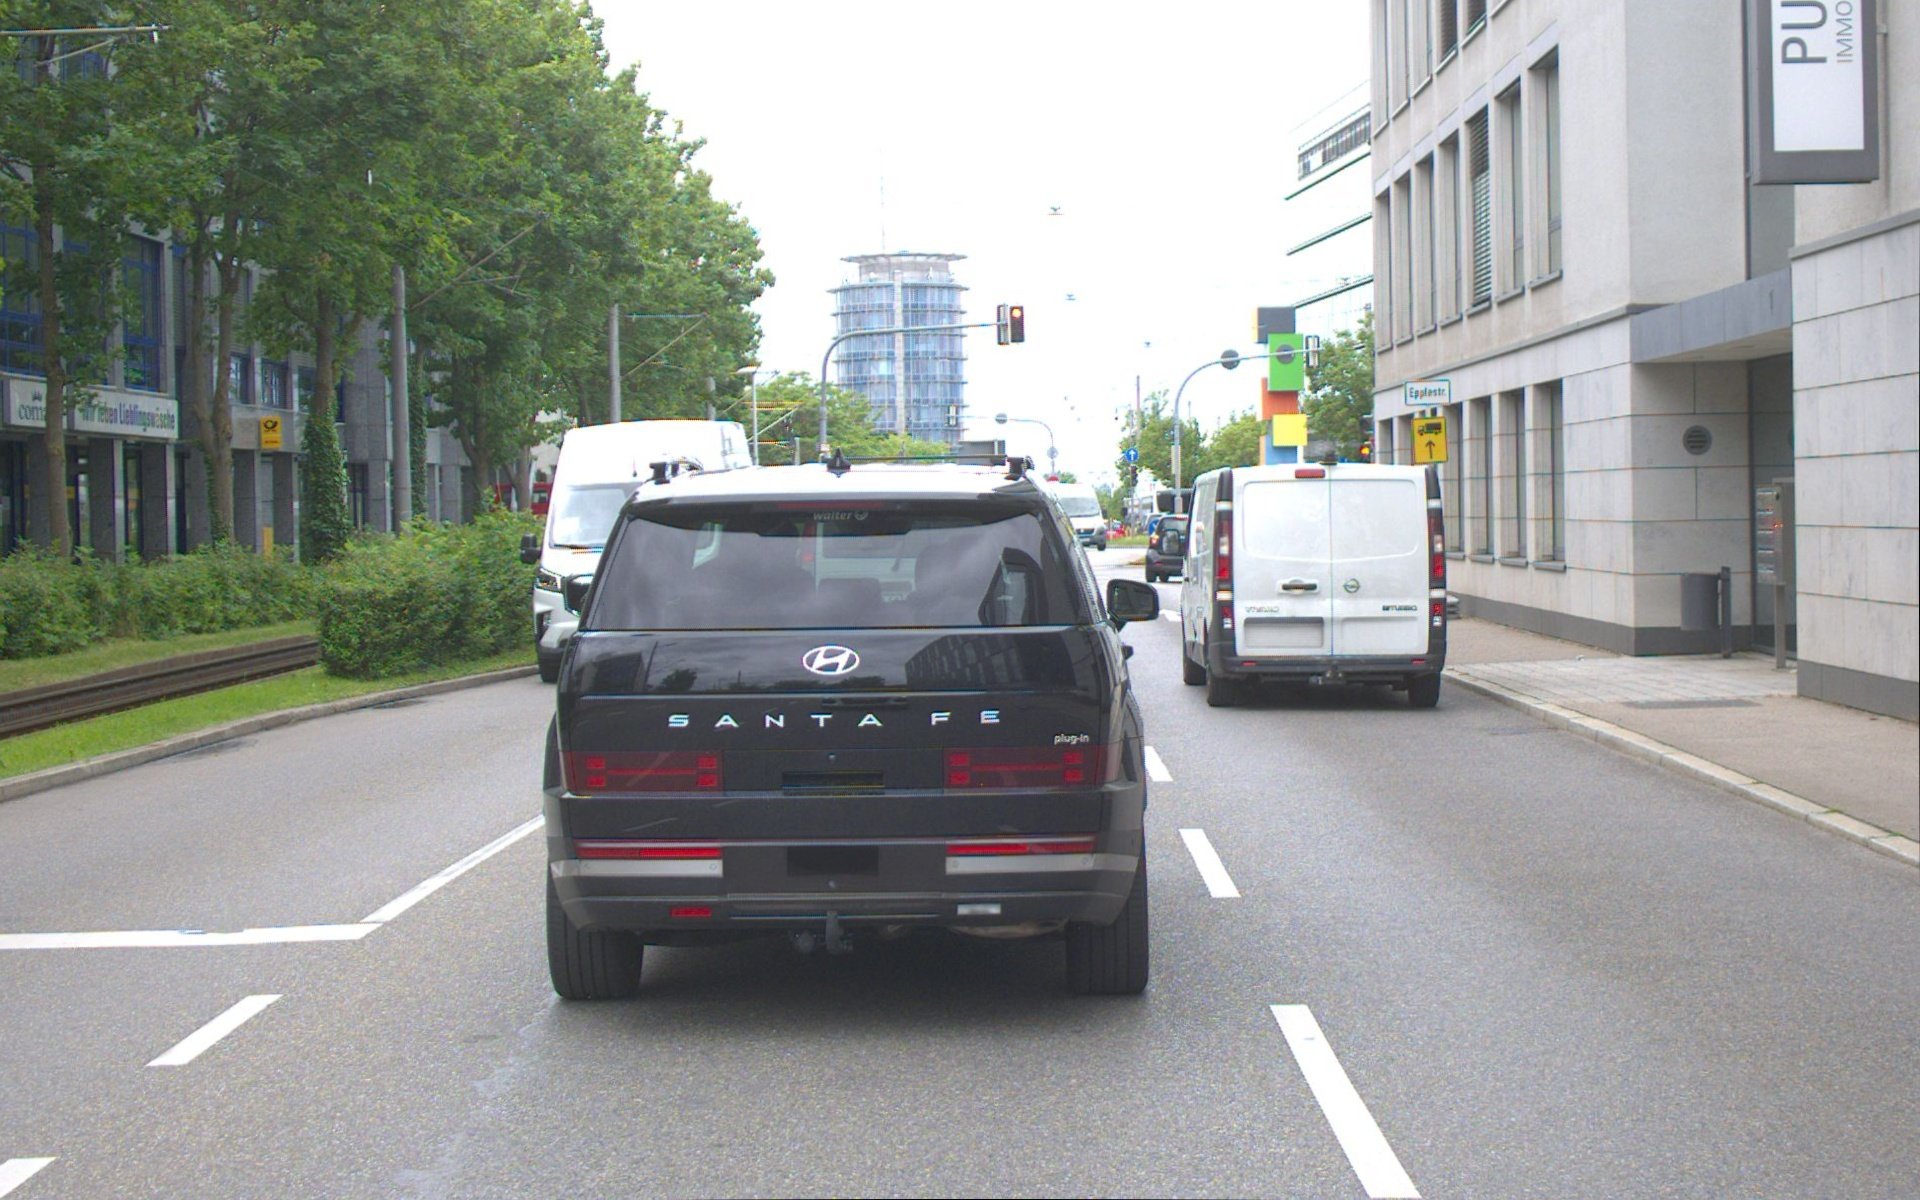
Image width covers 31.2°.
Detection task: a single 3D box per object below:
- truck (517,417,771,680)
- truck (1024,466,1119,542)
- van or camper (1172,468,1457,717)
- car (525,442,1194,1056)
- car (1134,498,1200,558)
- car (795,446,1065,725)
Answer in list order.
[{"bbox_3d":[-3.326,-0.608,37.371,2.165,2.606,5.796,-1,2,0],"label":"truck"},{"bbox_3d":[4.117,-3.579,128.521,2.331,2.738,6.489,-2,2,-9],"label":"truck"},{"bbox_3d":[2.862,-0.130,28.640,1.993,1.909,4.332,0,2,1],"label":"van or camper"},{"bbox_3d":[-0.444,0.368,12.078,1.908,1.743,4.398,-1,1,-4],"label":"car"},{"bbox_3d":[5.740,-2.010,94.844,1.759,1.603,4.188,0,2,4],"label":"car"},{"bbox_3d":[-0.314,-0.176,27.063,1.931,1.987,4.536,-1,2,-3],"label":"car"}]
